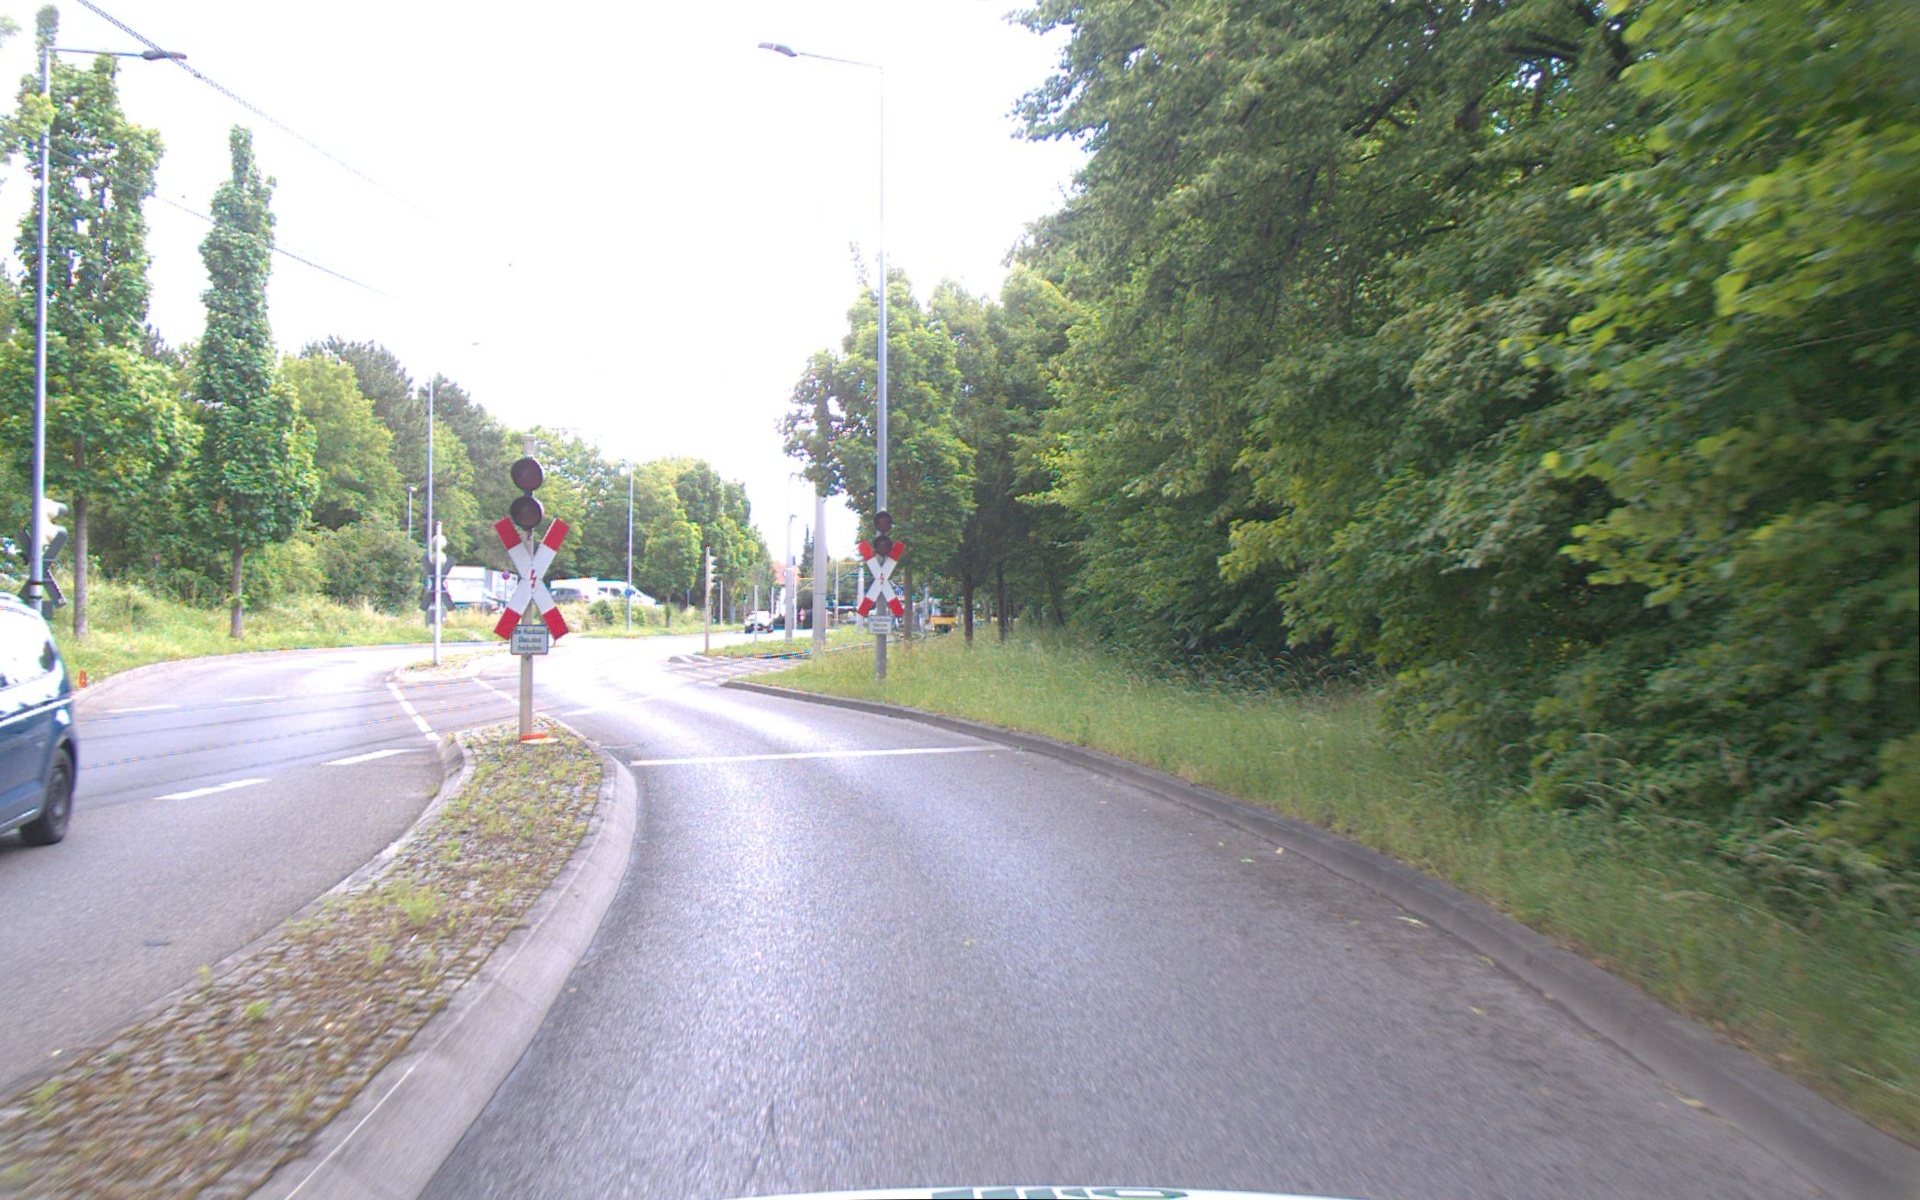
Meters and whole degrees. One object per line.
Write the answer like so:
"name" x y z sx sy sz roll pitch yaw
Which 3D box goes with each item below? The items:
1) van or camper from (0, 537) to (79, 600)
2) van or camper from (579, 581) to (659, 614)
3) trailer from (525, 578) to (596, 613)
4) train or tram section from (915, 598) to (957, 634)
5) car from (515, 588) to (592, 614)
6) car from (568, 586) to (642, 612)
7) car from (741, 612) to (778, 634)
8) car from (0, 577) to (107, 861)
"van or camper" -30.101 -0.974 52.220 1.952 1.910 4.630 1 0 1
"van or camper" -24.208 -0.185 117.500 5.224 2.241 2.000 1 0 -1
"trailer" -24.877 -0.277 103.069 3.904 2.049 1.908 1 0 2
"train or tram section" -2.827 1.653 177.299 2.948 3.369 34.685 1 0 -3
"car" -24.546 0.046 100.022 4.226 1.474 1.834 -1 0 -4
"car" -24.666 -0.042 114.962 4.544 1.685 2.001 1 -1 7
"car" -13.939 1.578 114.977 1.952 1.463 4.426 -1 0 1
"car" -6.265 0.644 9.220 1.837 1.547 4.220 1 0 -16
